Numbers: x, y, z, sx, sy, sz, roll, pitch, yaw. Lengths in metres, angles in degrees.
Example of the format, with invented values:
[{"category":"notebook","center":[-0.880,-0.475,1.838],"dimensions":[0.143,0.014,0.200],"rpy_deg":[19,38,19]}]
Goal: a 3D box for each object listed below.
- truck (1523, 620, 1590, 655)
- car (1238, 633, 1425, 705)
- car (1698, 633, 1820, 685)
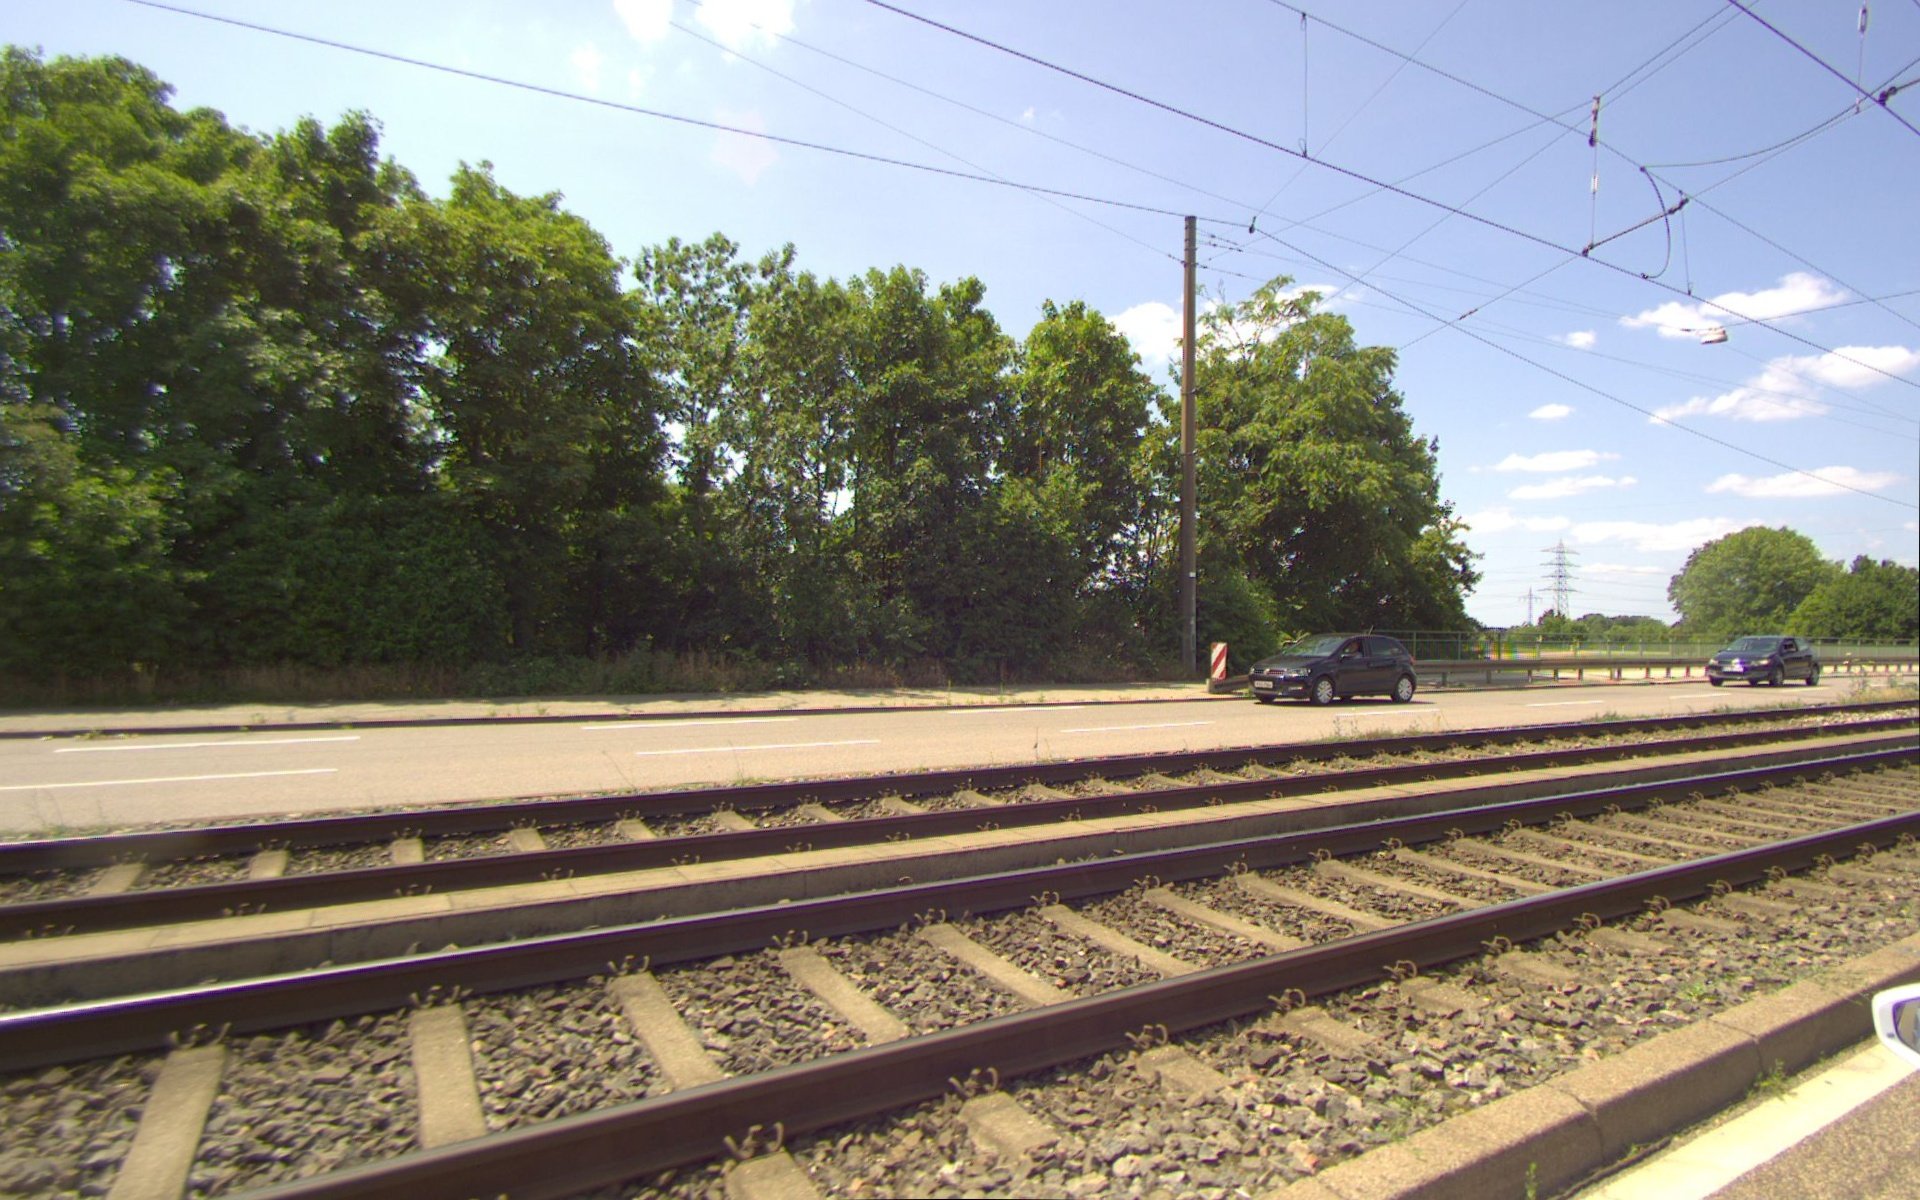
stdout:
[{"category":"truck","center":[115.641,7.254,194.935],"dimensions":[10.613,5.714,3.290],"rpy_deg":[4,3,28]},{"category":"car","center":[7.708,1.399,20.757],"dimensions":[3.883,1.365,1.556],"rpy_deg":[2,-2,-31]},{"category":"car","center":[23.427,1.706,29.423],"dimensions":[3.893,1.418,1.566],"rpy_deg":[2,-2,-31]}]
